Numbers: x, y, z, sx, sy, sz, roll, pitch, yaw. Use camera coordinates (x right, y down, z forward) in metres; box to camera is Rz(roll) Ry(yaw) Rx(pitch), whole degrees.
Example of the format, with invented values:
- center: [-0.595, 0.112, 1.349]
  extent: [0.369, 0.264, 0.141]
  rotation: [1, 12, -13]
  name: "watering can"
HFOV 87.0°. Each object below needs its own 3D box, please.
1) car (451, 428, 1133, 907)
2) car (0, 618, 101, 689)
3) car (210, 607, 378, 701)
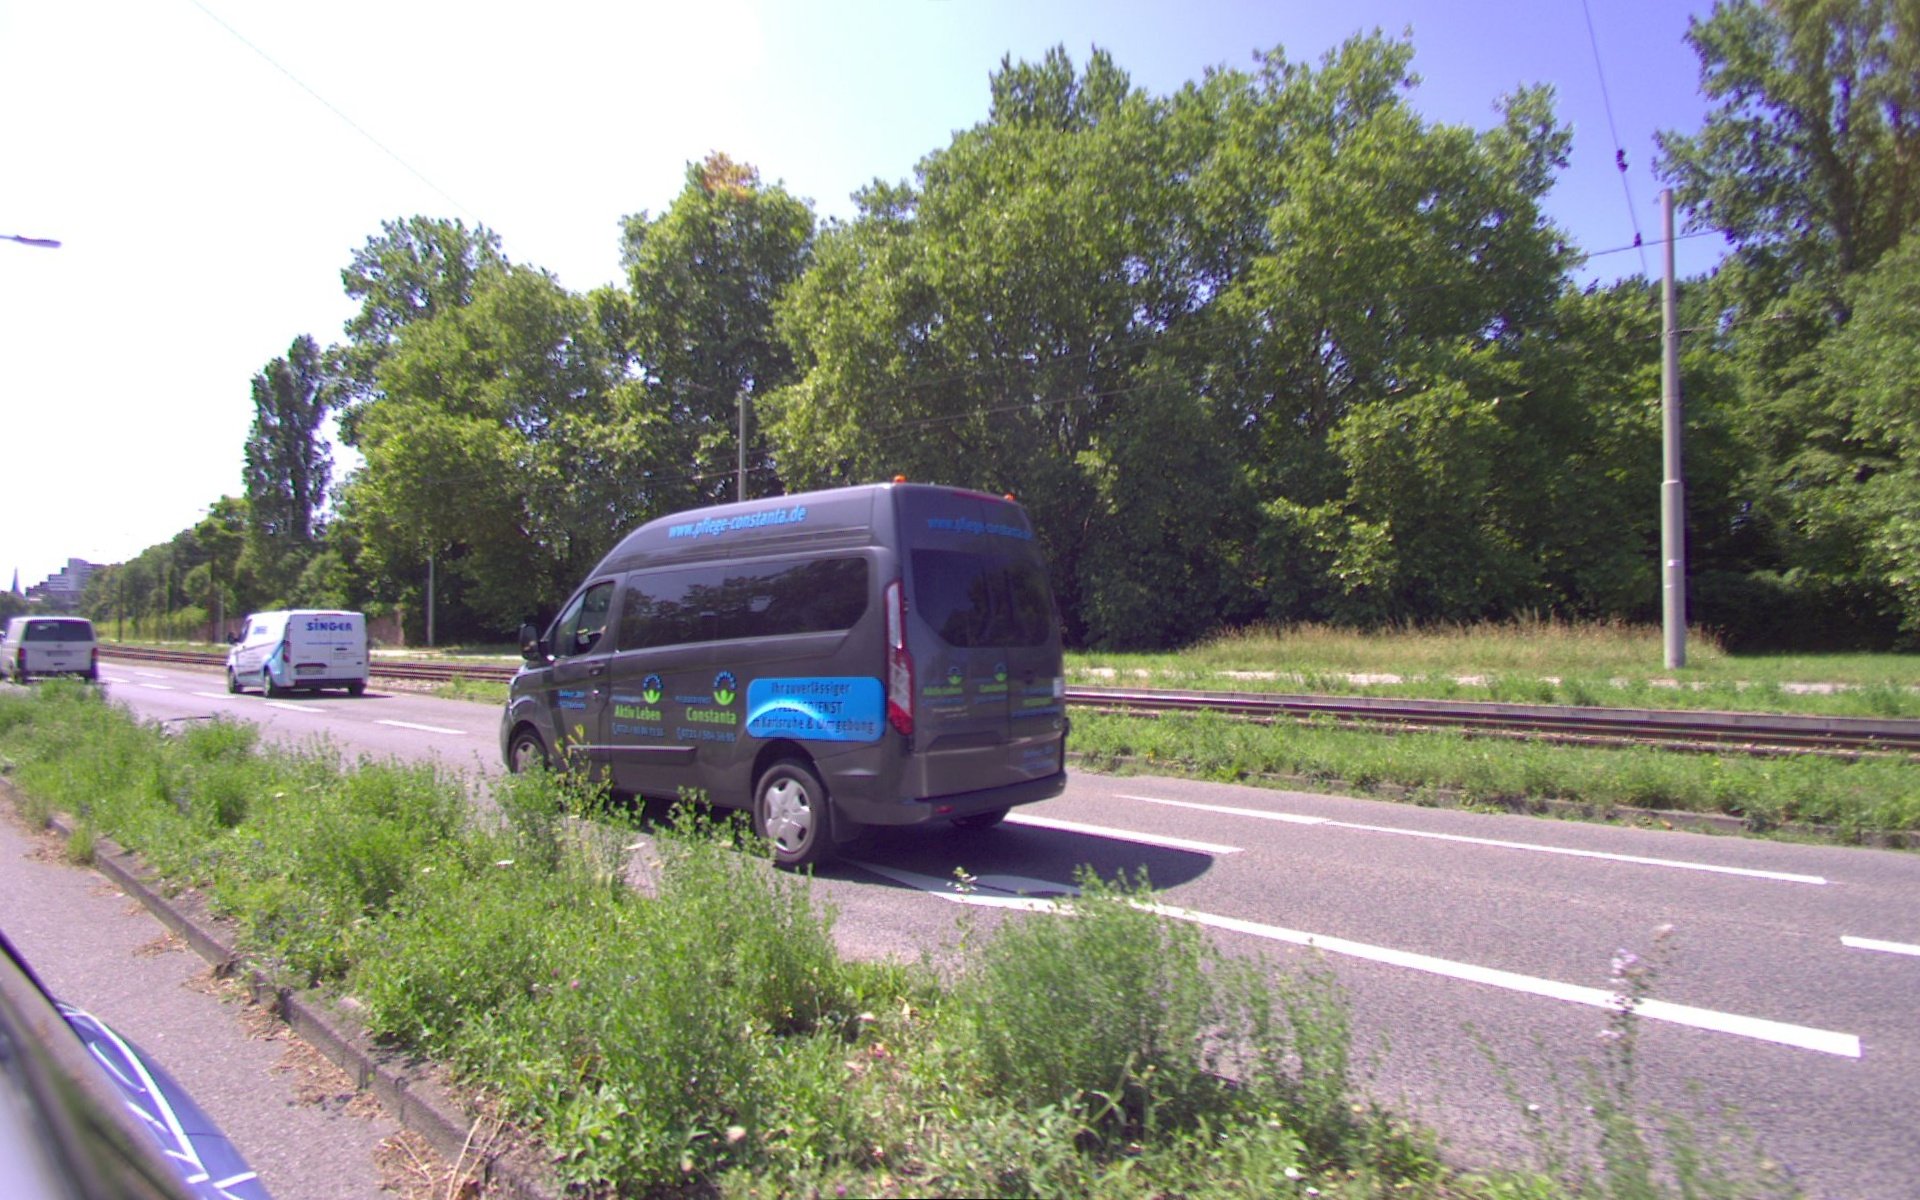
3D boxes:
- center: [-1.563, 0.423, 7.532]
  extent: [5.368, 2.384, 1.973]
  rotation: [-2, -3, 40]
  name: "car"
- center: [-27.166, 1.552, 29.958]
  extent: [5.563, 1.921, 1.810]
  rotation: [-2, -3, 41]
  name: "car"
- center: [-16.070, 1.282, 24.316]
  extent: [5.025, 2.029, 1.973]
  rotation: [-2, -4, 40]
  name: "car"
